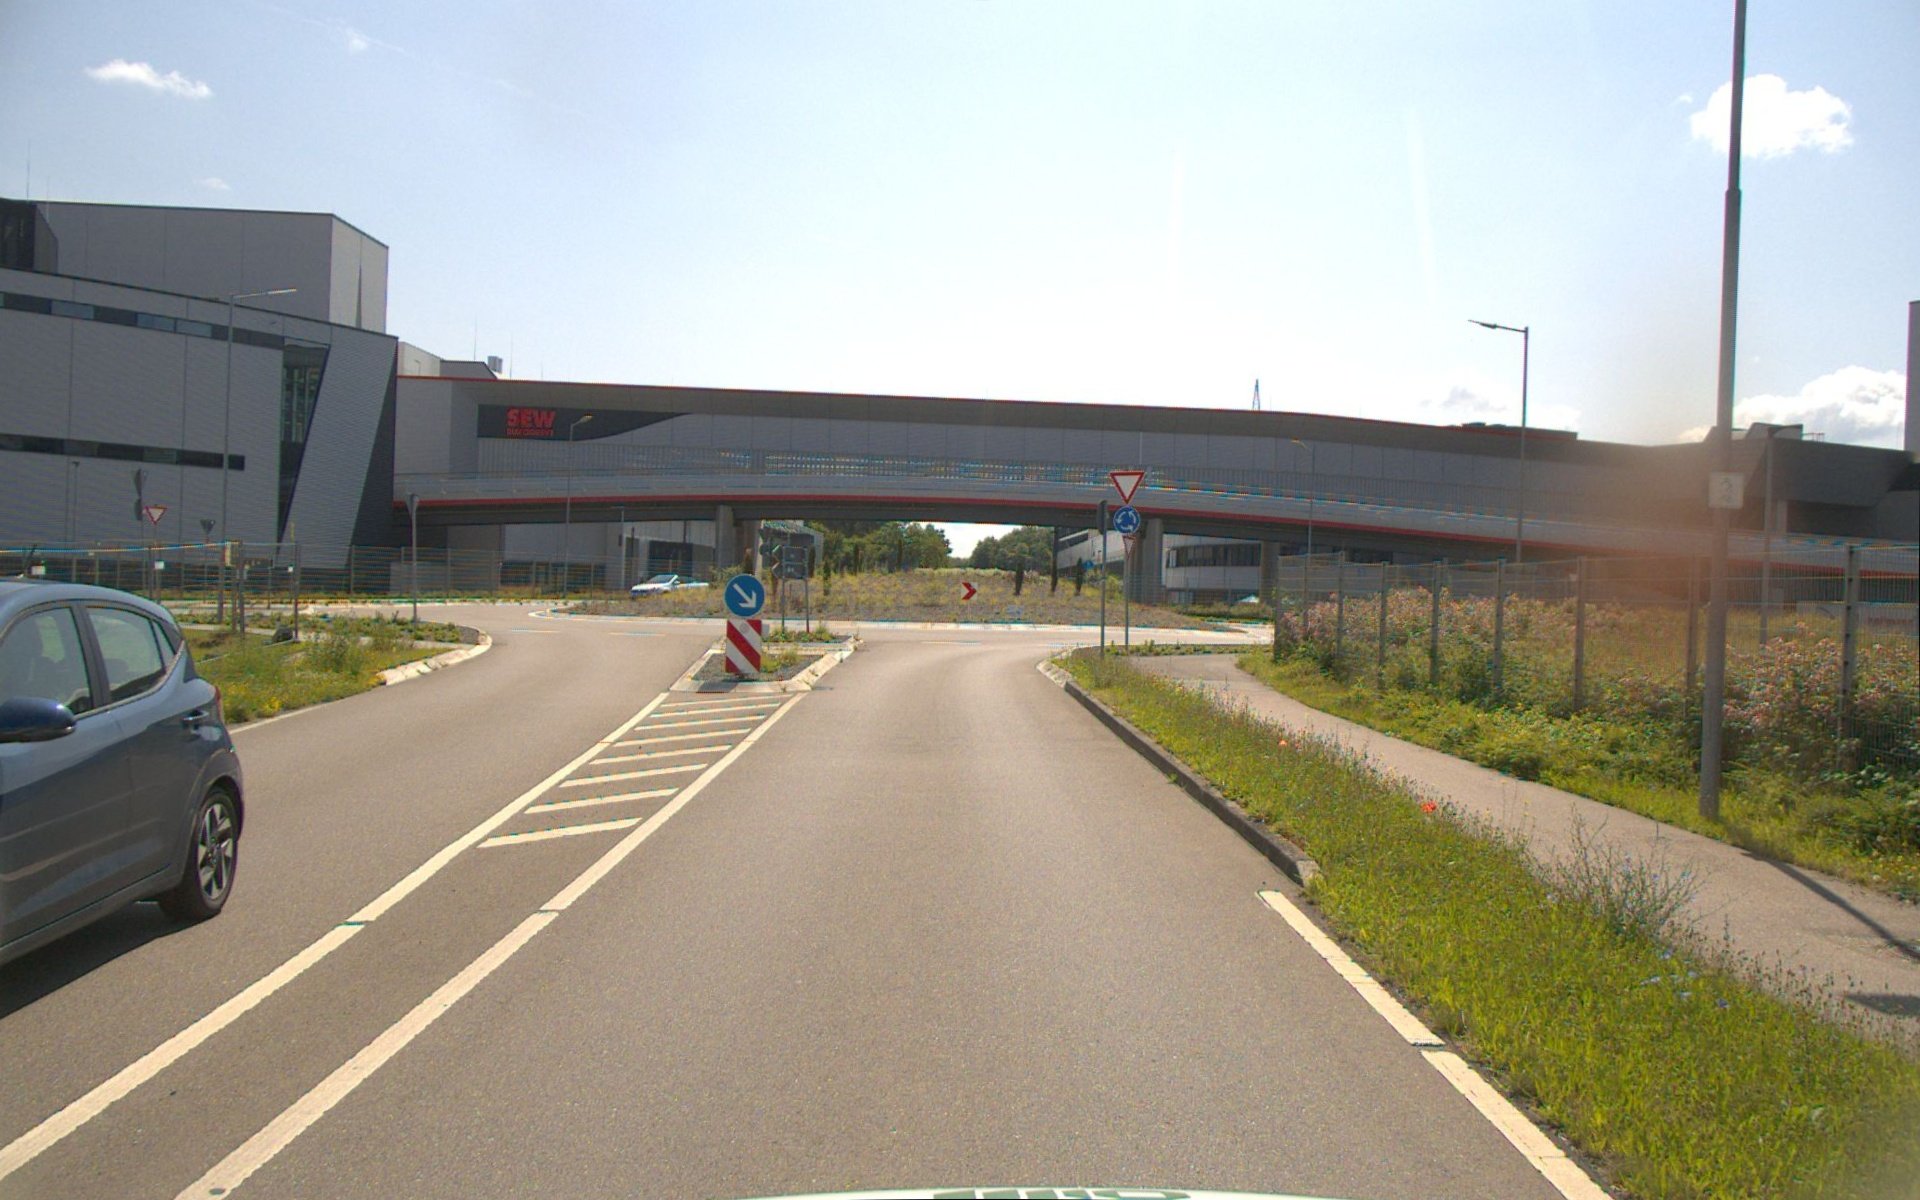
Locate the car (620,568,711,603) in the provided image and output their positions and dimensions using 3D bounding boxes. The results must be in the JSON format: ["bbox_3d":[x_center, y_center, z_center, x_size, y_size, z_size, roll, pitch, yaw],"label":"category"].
[{"bbox_3d":[-12.794,-0.598,72.058,1.737,1.453,4.044,1,0,30],"label":"car"}]

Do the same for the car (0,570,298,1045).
[{"bbox_3d":[-3.949,0.647,6.112,1.669,1.508,3.996,1,0,-5],"label":"car"}]
